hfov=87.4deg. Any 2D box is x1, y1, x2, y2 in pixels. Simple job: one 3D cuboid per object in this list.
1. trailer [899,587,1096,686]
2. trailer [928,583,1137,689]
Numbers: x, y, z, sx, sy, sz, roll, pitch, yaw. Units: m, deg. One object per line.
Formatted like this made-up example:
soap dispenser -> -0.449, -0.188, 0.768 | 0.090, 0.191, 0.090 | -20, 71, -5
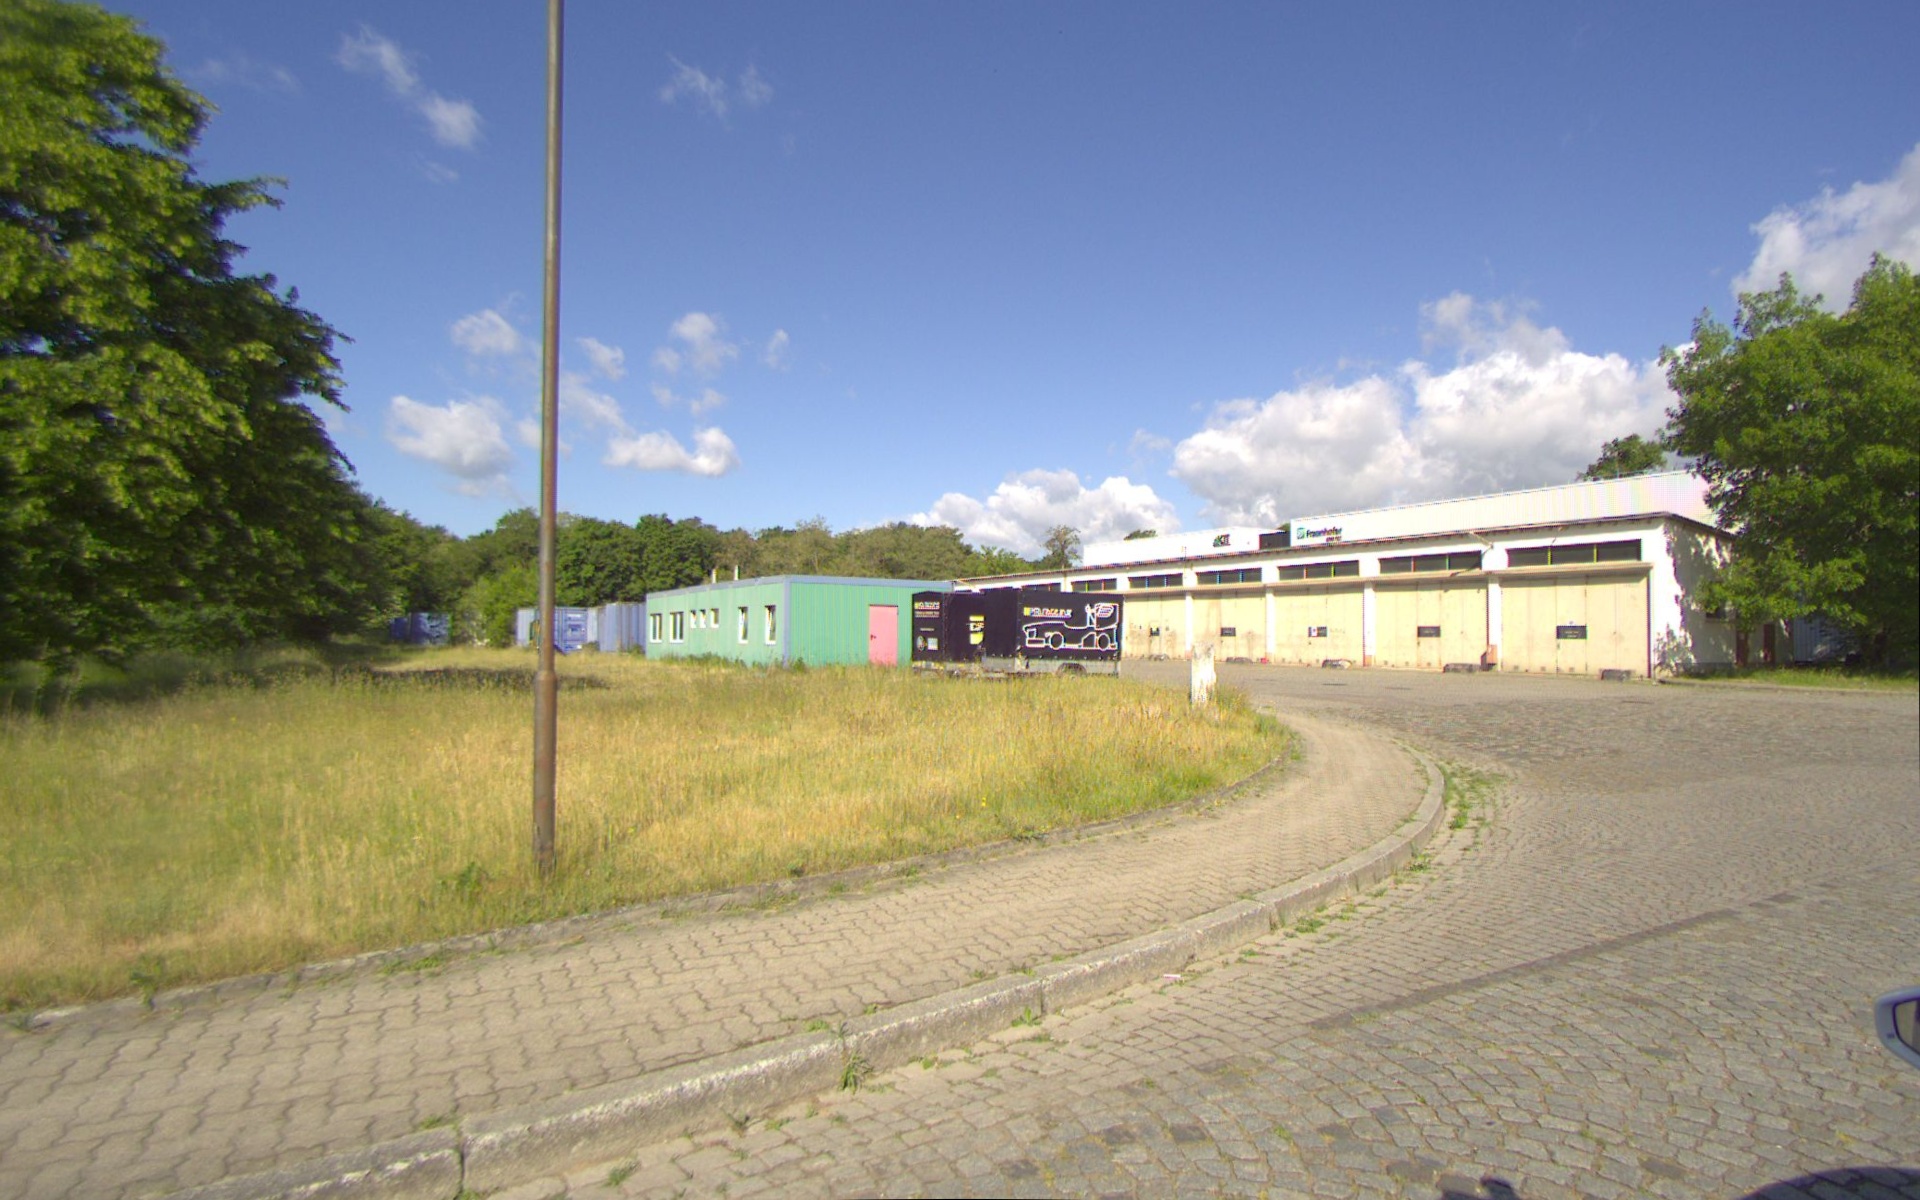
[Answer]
trailer -> 1.034, 0.964, 26.441 | 4.922, 2.385, 2.077 | 2, -2, -33
trailer -> 1.765, 0.886, 24.166 | 4.613, 2.328, 2.121 | 2, -2, -29
